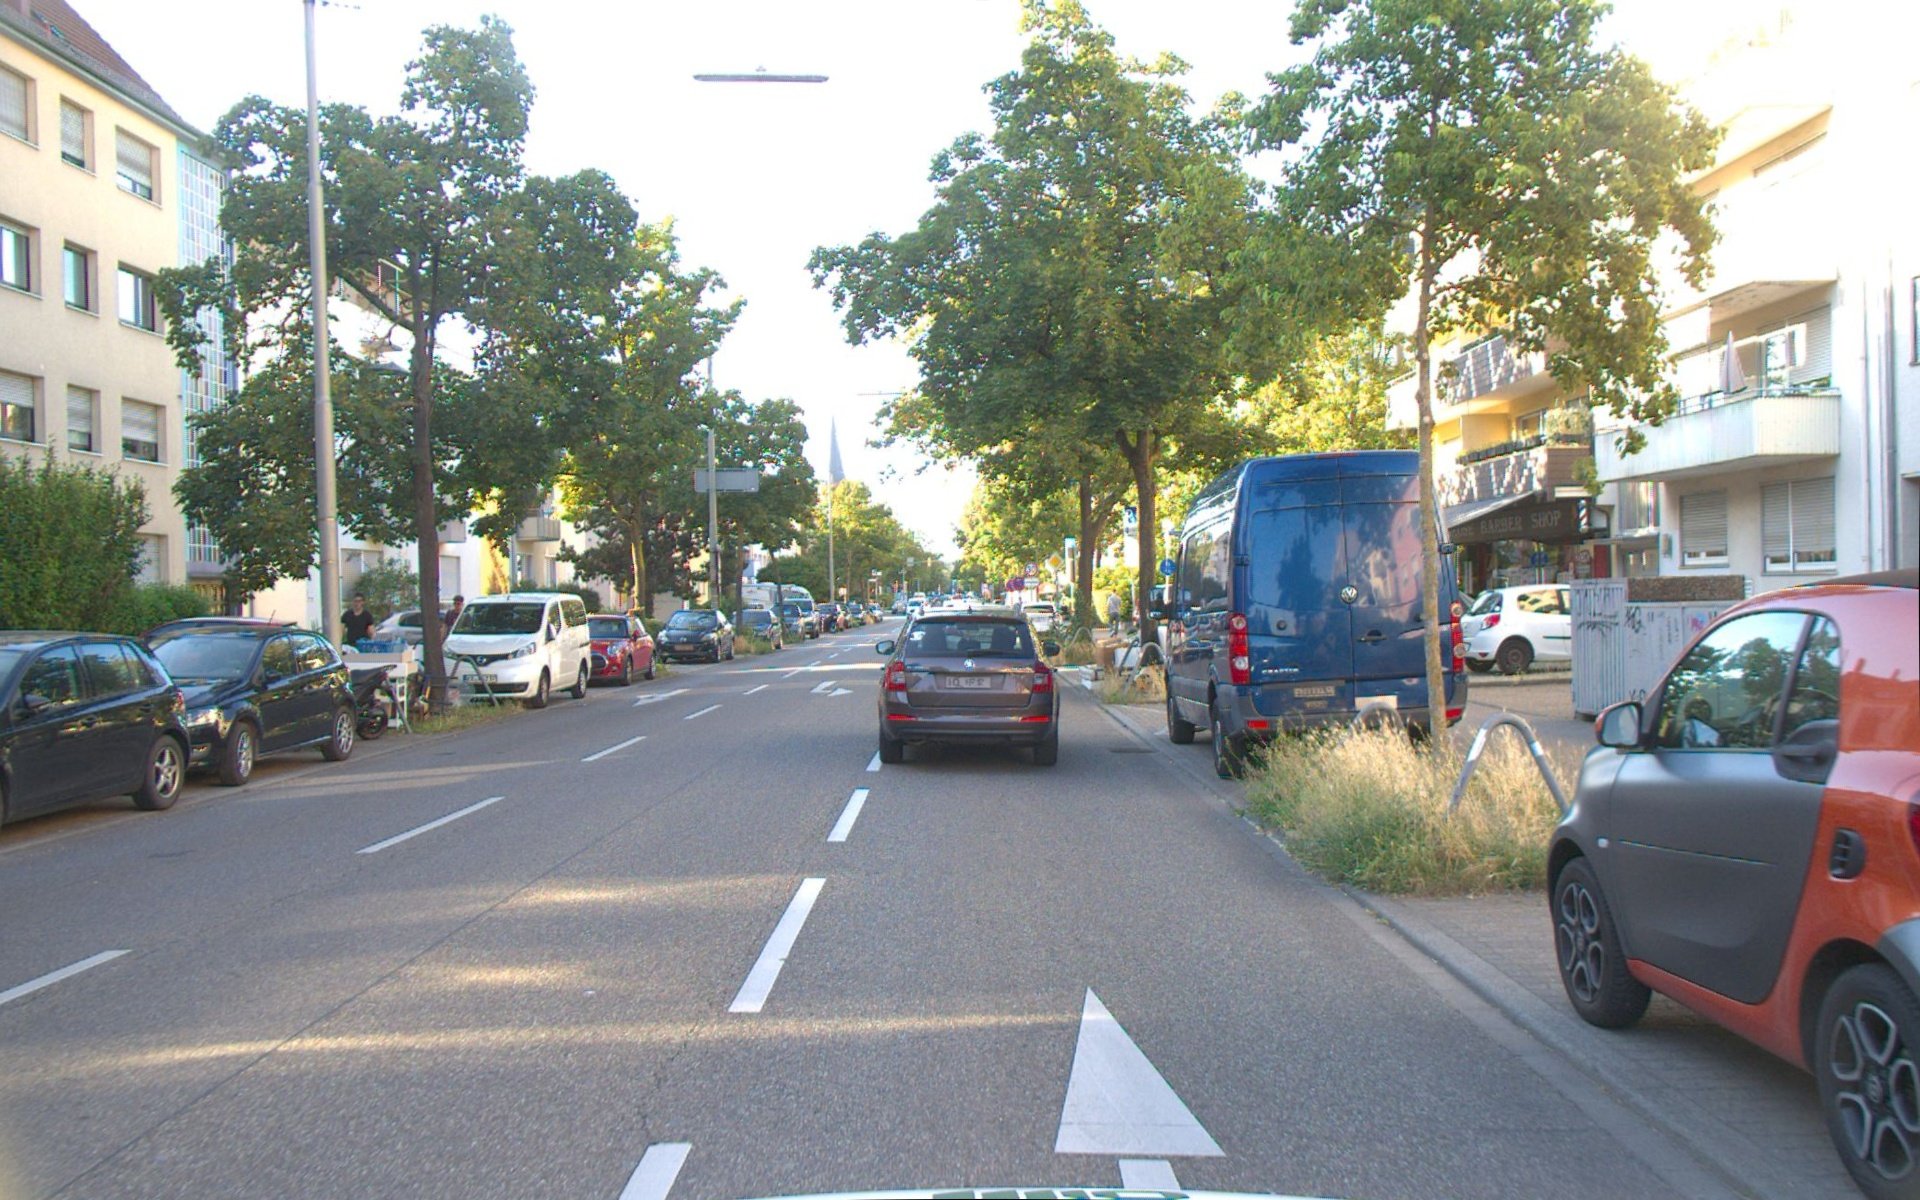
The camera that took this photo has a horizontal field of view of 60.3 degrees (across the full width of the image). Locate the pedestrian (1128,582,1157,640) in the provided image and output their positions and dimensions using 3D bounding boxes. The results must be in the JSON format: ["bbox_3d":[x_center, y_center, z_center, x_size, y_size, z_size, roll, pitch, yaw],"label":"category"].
[{"bbox_3d":[5.929,0.348,53.653,0.741,1.827,0.905,-1,0,-5],"label":"pedestrian"}]

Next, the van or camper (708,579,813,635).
[{"bbox_3d":[-14.783,0.519,122.837,7.486,3.942,1.999,-1,0,-2],"label":"van or camper"}]

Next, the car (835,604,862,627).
[{"bbox_3d":[-7.569,1.026,112.476,1.630,1.457,3.275,-1,0,0],"label":"car"}]

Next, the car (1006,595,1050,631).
[{"bbox_3d":[2.887,0.527,70.255,1.783,1.438,4.112,-1,0,2],"label":"car"}]

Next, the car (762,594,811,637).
[{"bbox_3d":[-7.504,0.640,71.664,1.714,1.771,3.591,-1,0,0],"label":"car"}]

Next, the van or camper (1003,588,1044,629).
[{"bbox_3d":[3.251,0.402,85.671,1.953,2.049,4.000,-1,0,0],"label":"van or camper"}]

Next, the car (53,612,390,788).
[{"bbox_3d":[-7.518,0.942,17.295,1.714,1.529,3.978,-1,0,0],"label":"car"}]

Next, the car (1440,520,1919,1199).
[{"bbox_3d":[3.071,0.646,5.499,1.737,1.671,3.756,-1,-1,-2],"label":"car"}]

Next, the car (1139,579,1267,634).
[{"bbox_3d":[9.062,0.232,61.738,4.481,1.926,1.897,-1,0,-28],"label":"car"}]

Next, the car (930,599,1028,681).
[{"bbox_3d":[0.331,0.766,33.939,1.695,1.520,3.948,-1,0,-4],"label":"car"}]

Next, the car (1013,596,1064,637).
[{"bbox_3d":[2.895,0.592,61.633,1.783,1.438,4.112,-1,0,2],"label":"car"}]

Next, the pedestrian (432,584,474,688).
[{"bbox_3d":[-10.165,0.718,33.187,0.614,2.049,0.616,-1,0,-1],"label":"pedestrian"}]

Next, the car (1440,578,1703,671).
[{"bbox_3d":[10.661,0.404,29.005,3.908,1.487,1.823,-1,0,-4],"label":"car"}]

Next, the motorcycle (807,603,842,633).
[{"bbox_3d":[-7.096,0.929,86.632,0.760,1.538,1.999,-1,0,-42],"label":"motorcycle"}]

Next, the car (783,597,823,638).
[{"bbox_3d":[-7.230,0.794,76.331,1.476,1.788,3.693,-1,0,0],"label":"car"}]

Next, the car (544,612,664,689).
[{"bbox_3d":[-7.465,1.016,34.968,1.682,1.446,3.786,-1,0,0],"label":"car"}]

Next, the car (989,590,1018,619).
[{"bbox_3d":[2.825,0.264,108.968,1.694,1.847,3.950,-1,0,-1],"label":"car"}]

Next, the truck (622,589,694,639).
[{"bbox_3d":[-13.335,0.602,73.096,2.854,2.130,1.546,-1,0,-1],"label":"truck"}]

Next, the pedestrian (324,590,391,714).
[{"bbox_3d":[-10.216,0.868,28.064,0.751,2.049,0.976,-1,0,-1],"label":"pedestrian"}]

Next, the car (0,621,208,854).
[{"bbox_3d":[-7.443,0.983,12.351,1.714,1.529,4.197,-1,0,0],"label":"car"}]

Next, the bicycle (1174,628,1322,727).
[{"bbox_3d":[3.372,0.908,19.441,1.666,1.108,0.404,-1,0,3],"label":"bicycle"}]

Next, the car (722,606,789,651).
[{"bbox_3d":[-7.211,0.992,58.693,1.718,1.445,4.426,-1,0,1],"label":"car"}]

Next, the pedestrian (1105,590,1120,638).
[{"bbox_3d":[5.782,0.529,62.764,0.524,1.825,0.688,-1,0,2],"label":"pedestrian"}]

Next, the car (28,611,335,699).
[{"bbox_3d":[-13.869,0.953,29.764,4.629,1.386,1.993,-1,0,-13],"label":"car"}]

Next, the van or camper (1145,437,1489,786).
[{"bbox_3d":[3.169,0.113,16.120,2.025,2.722,5.989,-1,-1,0],"label":"van or camper"}]

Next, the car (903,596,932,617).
[{"bbox_3d":[-3.840,0.566,150.166,1.836,1.788,4.182,-1,0,11],"label":"car"}]

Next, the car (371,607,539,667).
[{"bbox_3d":[-13.411,0.968,44.119,3.908,1.505,1.999,0,0,-4],"label":"car"}]

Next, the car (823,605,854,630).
[{"bbox_3d":[-7.476,1.049,101.861,1.630,1.457,3.275,-1,0,0],"label":"car"}]

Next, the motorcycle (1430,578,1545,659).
[{"bbox_3d":[11.037,0.381,34.666,2.148,1.649,0.890,-1,0,6],"label":"motorcycle"}]

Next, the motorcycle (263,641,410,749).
[{"bbox_3d":[-7.636,1.142,20.319,0.433,1.213,1.700,-1,0,37],"label":"motorcycle"}]

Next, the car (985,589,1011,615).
[{"bbox_3d":[2.790,0.157,121.460,1.694,1.847,3.950,-1,0,-1],"label":"car"}]

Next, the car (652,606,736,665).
[{"bbox_3d":[-7.530,0.964,47.155,1.682,1.524,4.248,-1,0,0],"label":"car"}]

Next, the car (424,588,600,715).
[{"bbox_3d":[-7.475,0.786,28.048,1.733,1.952,4.460,-1,0,0],"label":"car"}]

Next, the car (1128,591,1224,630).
[{"bbox_3d":[9.130,0.437,69.859,3.747,1.552,1.502,-1,0,-22],"label":"car"}]

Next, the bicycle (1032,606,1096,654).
[{"bbox_3d":[2.904,0.833,46.010,1.635,1.247,0.636,-3,0,13],"label":"bicycle"}]

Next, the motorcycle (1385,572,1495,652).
[{"bbox_3d":[10.313,0.257,35.571,2.148,1.649,0.732,-1,0,6],"label":"motorcycle"}]

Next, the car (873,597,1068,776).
[{"bbox_3d":[0.130,0.756,16.570,1.694,1.520,3.951,-1,0,1],"label":"car"}]
